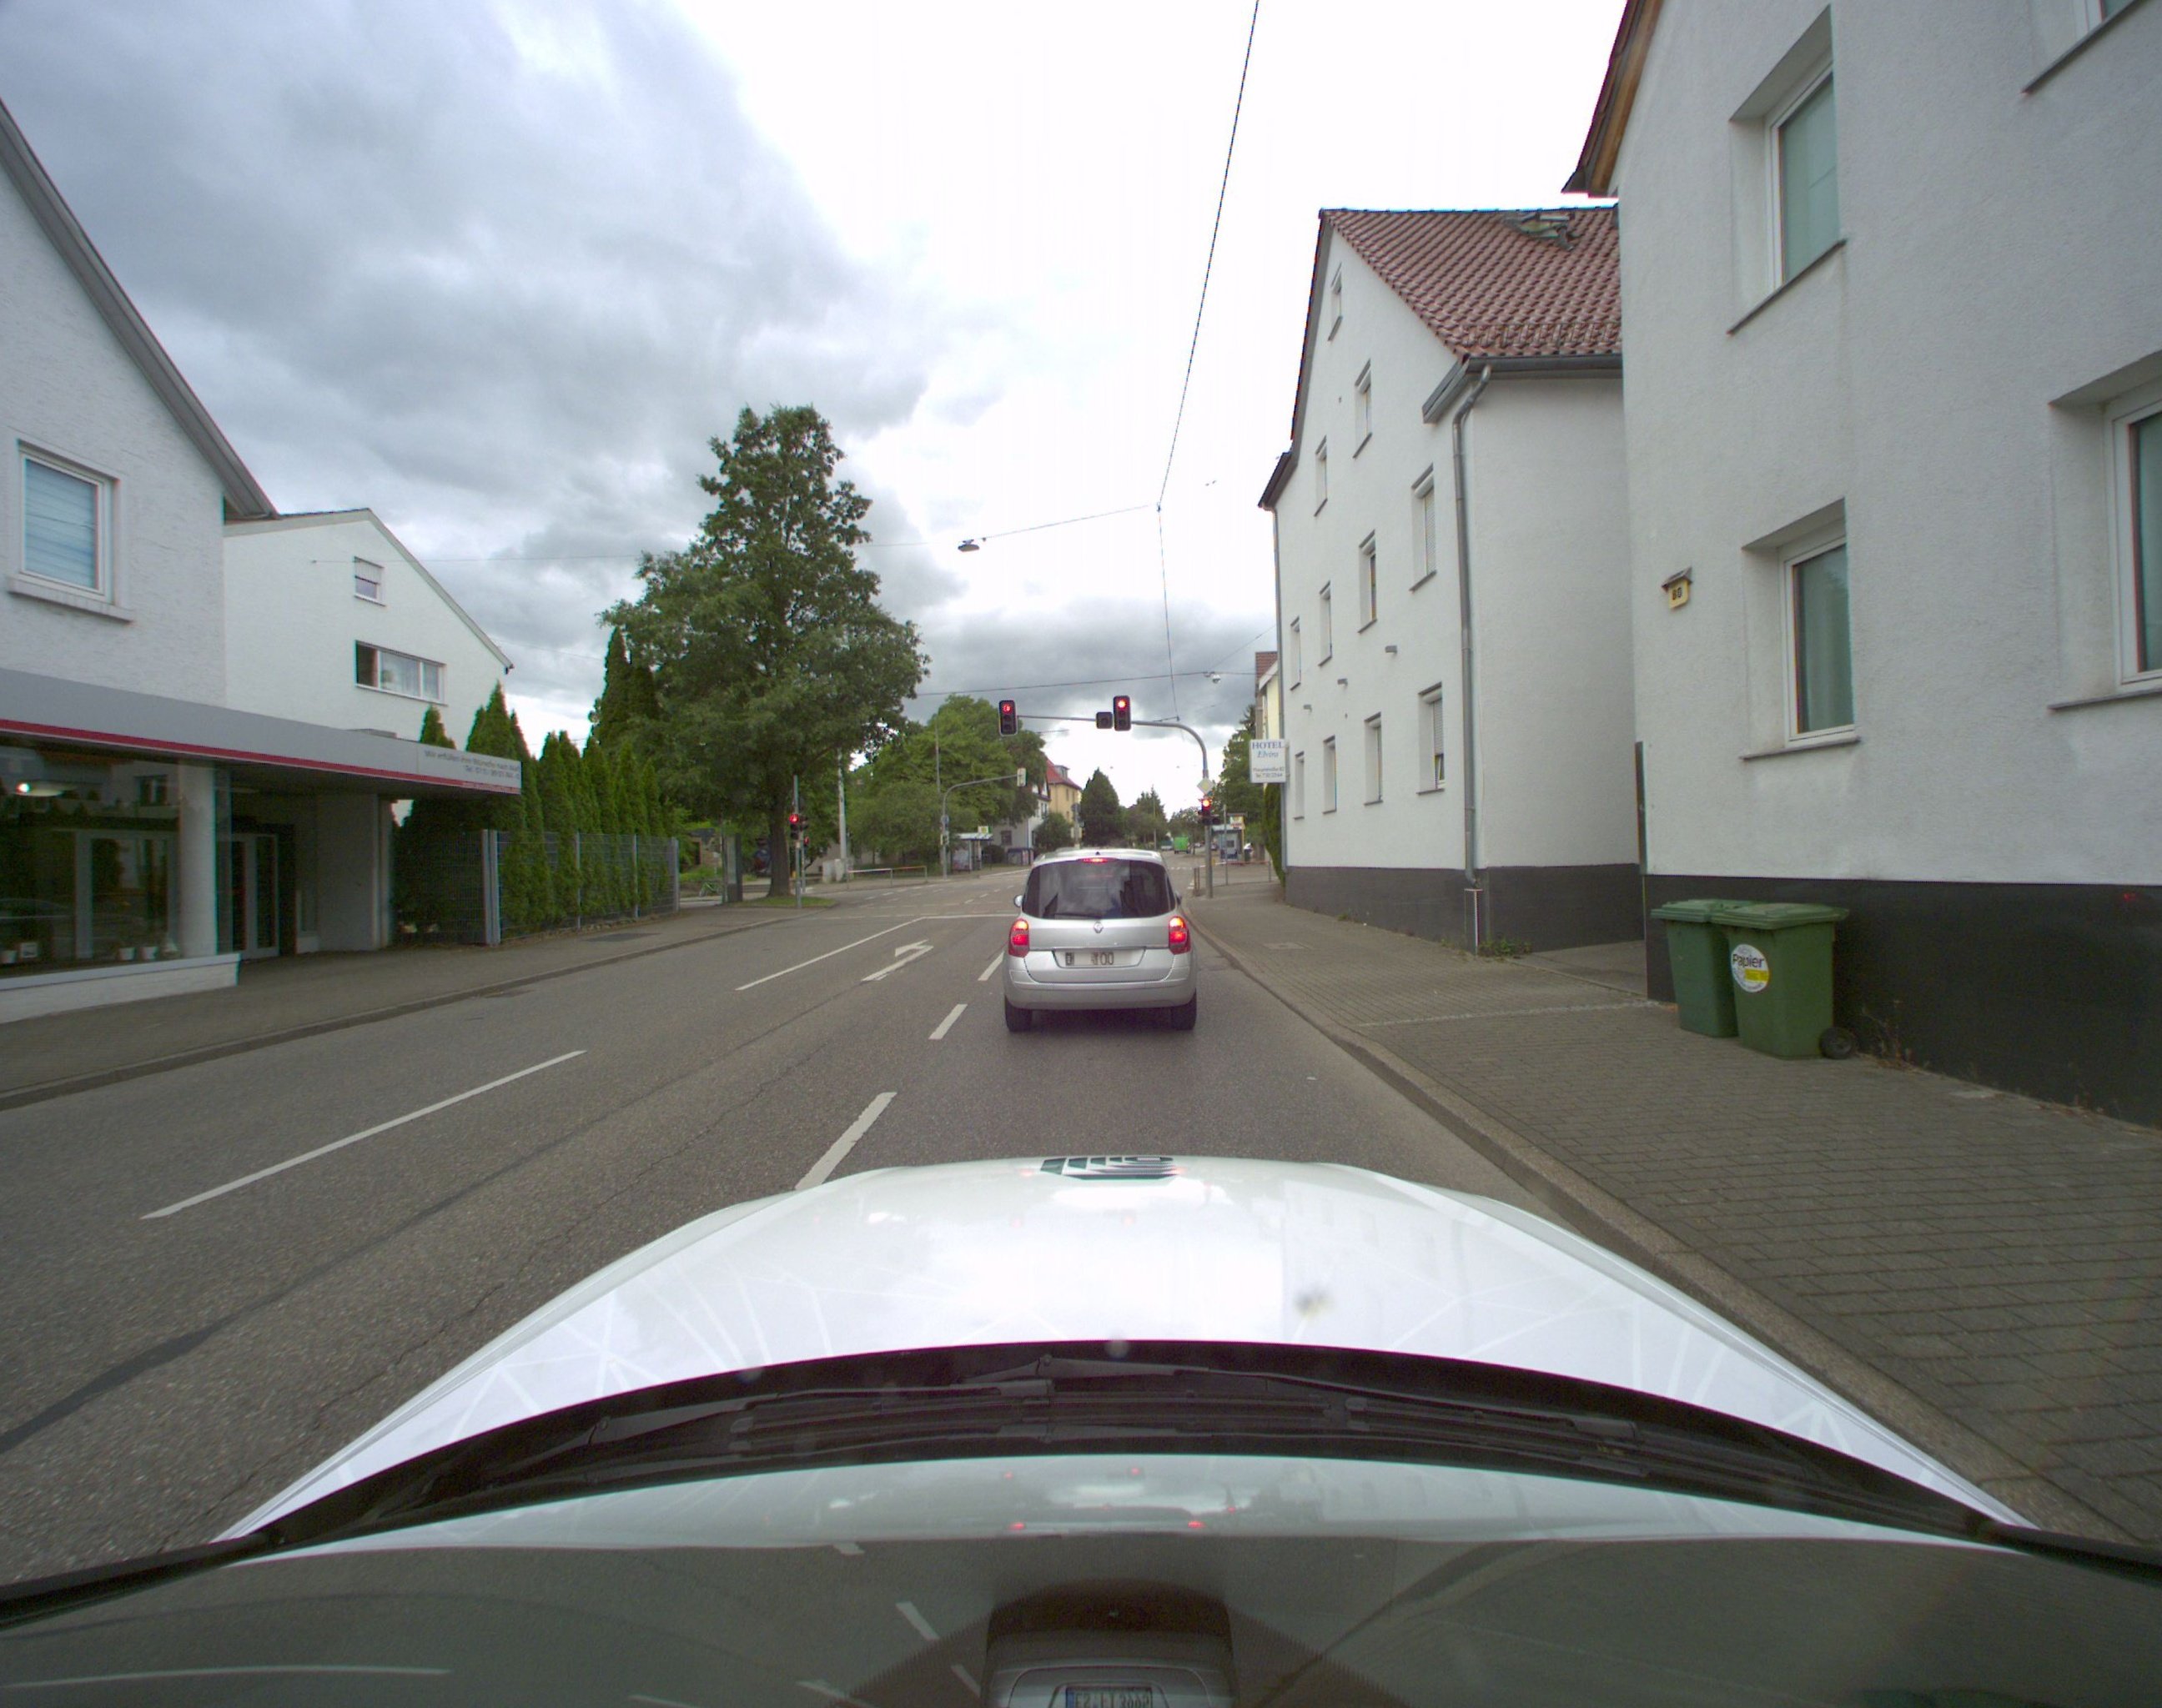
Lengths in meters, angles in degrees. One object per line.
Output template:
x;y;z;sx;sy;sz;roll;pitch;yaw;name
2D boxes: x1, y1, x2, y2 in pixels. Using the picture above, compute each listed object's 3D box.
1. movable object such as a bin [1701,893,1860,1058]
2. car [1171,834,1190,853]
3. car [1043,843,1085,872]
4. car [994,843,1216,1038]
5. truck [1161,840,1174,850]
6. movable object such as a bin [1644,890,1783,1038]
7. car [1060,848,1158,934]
4.432;0.748;5.189;0.538;0.941;0.487;-4;0;2;movable object such as a bin
14.098;-1.429;114.762;2.045;2.512;5.615;-1;0;13;car
-1.147;0.204;57.237;1.913;1.773;4.013;-6;-1;12;car
0.243;0.697;8.494;1.748;1.530;4.001;-1;0;1;car
17.924;-1.916;169.222;2.088;2.013;5.766;-1;0;11;truck
4.424;0.750;5.726;0.538;0.941;0.487;-4;0;2;movable object such as a bin
0.549;0.679;16.599;1.748;1.530;3.798;-1;0;1;car
